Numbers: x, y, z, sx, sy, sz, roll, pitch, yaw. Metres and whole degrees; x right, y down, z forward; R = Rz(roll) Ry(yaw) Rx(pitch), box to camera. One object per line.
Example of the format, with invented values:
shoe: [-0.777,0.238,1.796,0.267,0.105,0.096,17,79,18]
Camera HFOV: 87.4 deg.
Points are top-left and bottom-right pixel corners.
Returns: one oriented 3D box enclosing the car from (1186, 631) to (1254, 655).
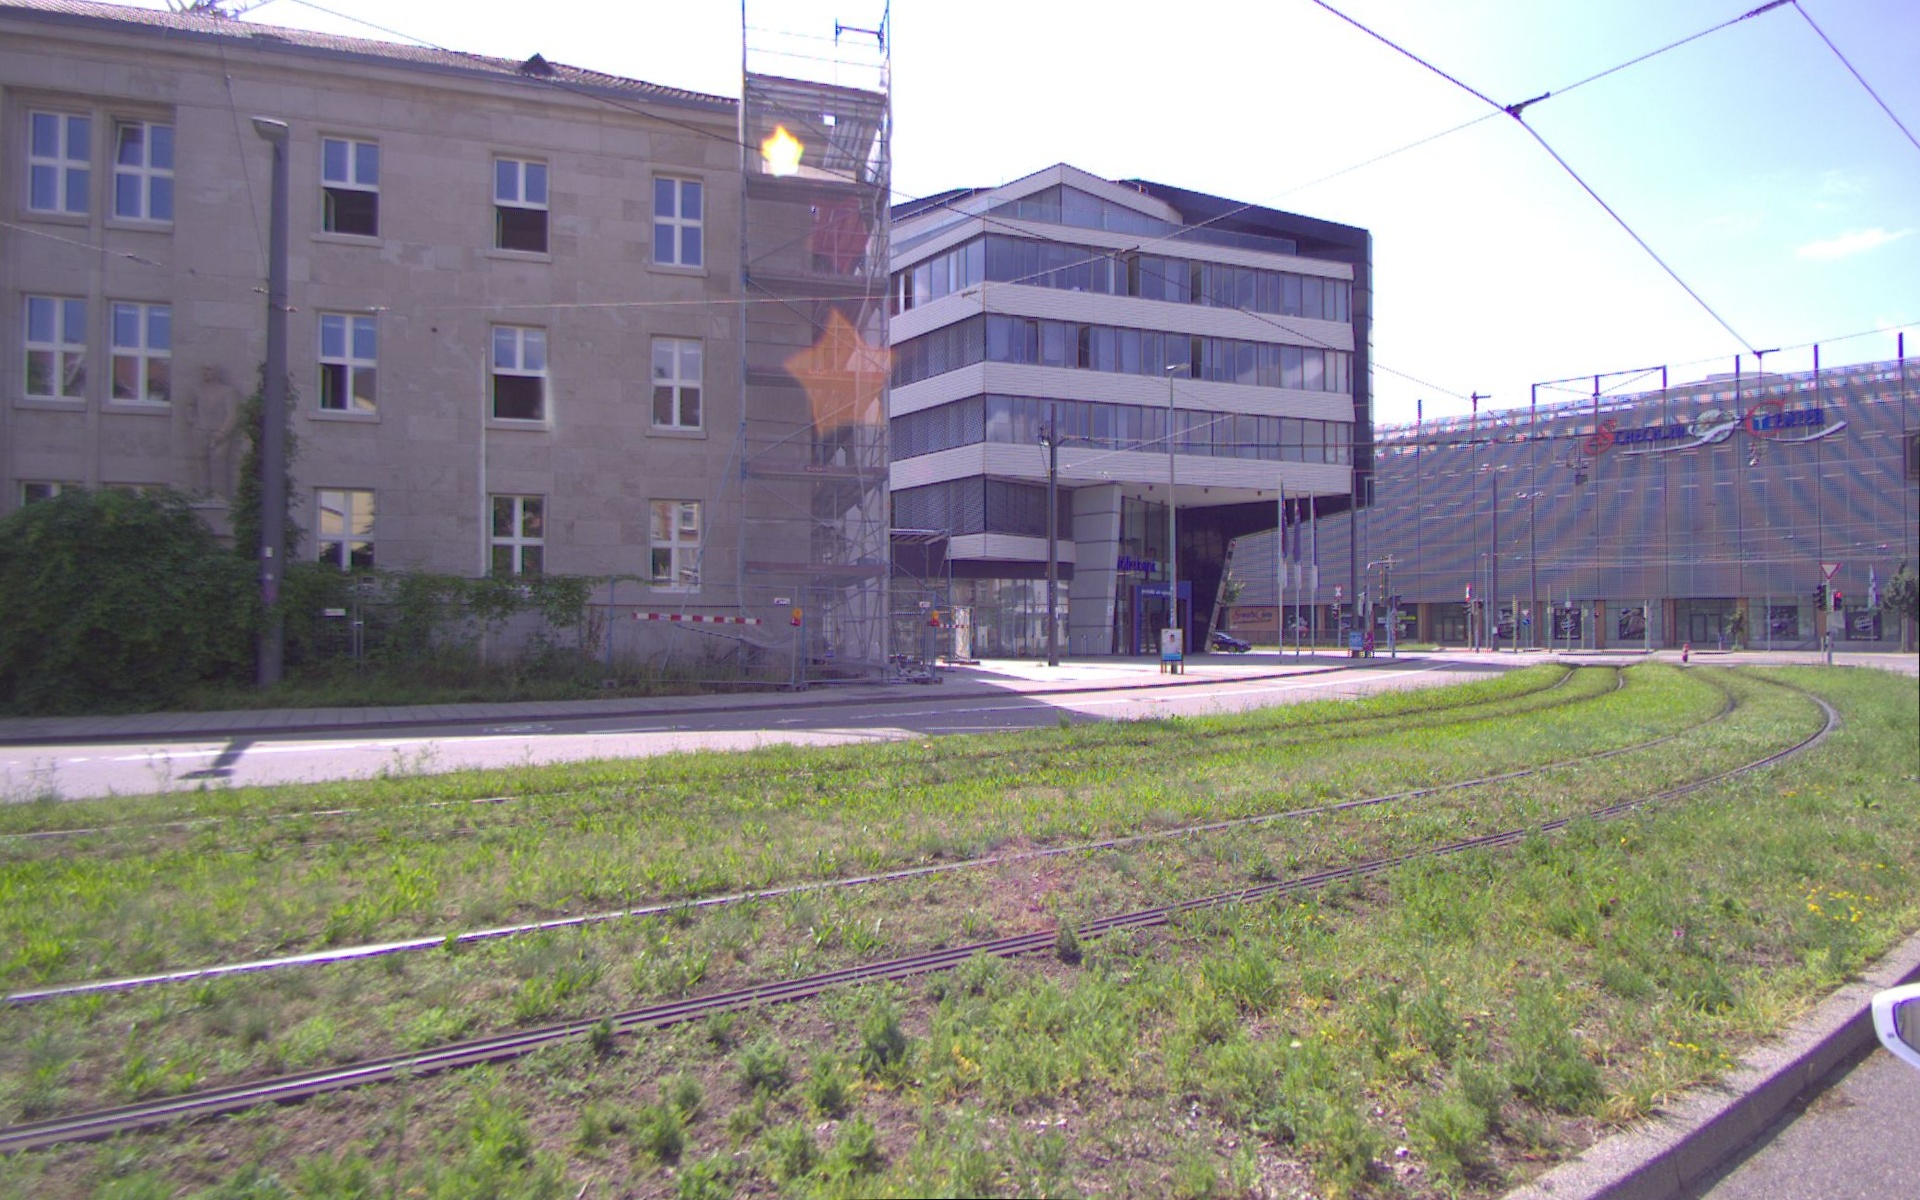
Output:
car: [17.346,2.848,67.094,4.049,1.488,1.819,-1,-2,39]
